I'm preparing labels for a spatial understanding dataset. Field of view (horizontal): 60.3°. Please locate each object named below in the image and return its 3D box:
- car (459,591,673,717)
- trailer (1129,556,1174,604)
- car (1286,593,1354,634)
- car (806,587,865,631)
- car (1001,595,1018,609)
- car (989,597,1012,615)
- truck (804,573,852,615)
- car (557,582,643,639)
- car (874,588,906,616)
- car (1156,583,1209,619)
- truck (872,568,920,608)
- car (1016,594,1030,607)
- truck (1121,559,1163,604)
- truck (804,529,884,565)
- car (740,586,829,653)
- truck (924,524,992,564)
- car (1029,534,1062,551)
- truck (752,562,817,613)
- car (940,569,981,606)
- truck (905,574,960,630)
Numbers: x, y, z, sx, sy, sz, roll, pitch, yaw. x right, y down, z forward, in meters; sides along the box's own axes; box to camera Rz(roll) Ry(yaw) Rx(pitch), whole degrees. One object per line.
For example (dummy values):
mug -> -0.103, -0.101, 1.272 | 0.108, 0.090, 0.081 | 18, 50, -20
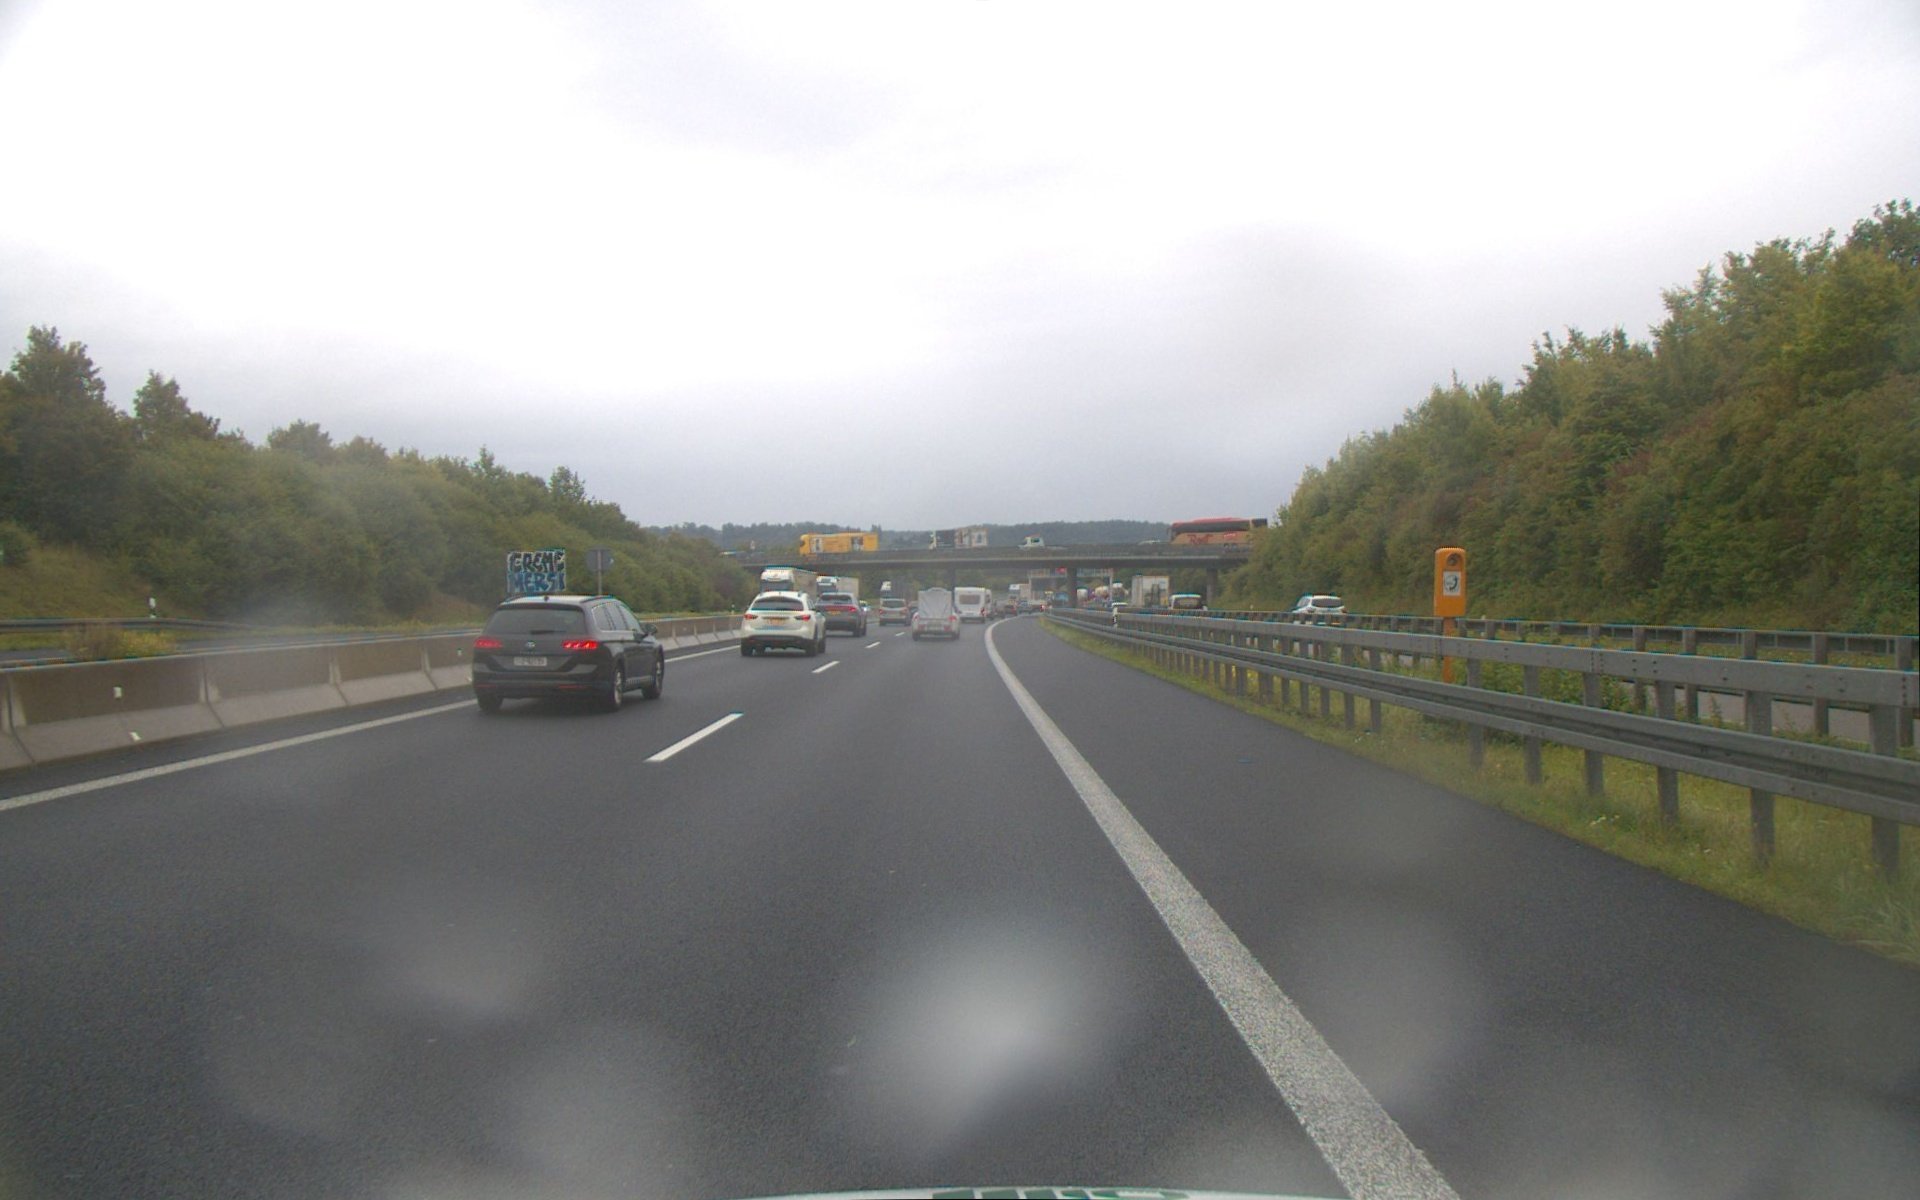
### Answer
car -> -5.164, 0.657, 22.353 | 1.862, 1.523, 4.850 | 0, 0, -2
trailer -> 17.945, -1.827, 155.675 | 3.366, 4.364, 10.456 | 0, 0, 2
car -> 14.759, 0.532, 68.039 | 1.858, 1.641, 4.145 | 0, 0, -1
car -> -4.911, 0.332, 65.880 | 2.130, 1.660, 4.499 | 0, 0, -1
car -> 6.114, 0.244, 205.138 | 1.953, 1.780, 4.000 | 1, 0, 0
car -> 4.053, 0.581, 166.619 | 1.954, 1.780, 3.997 | 1, 0, -4
truck -> -13.360, -0.613, 168.918 | 3.688, 4.062, 13.188 | 0, 0, 1
car -> -12.257, 0.355, 56.551 | 1.952, 1.844, 4.173 | 1, 0, 1
car -> -4.209, 0.131, 99.552 | 1.862, 1.641, 4.015 | 0, 0, -3
car -> 11.679, 0.053, 86.972 | 1.968, 1.846, 4.273 | 0, 0, -4
truck -> -6.055, -1.132, 158.727 | 3.688, 3.616, 13.189 | 0, 0, 1
car -> 9.008, 0.115, 237.632 | 1.952, 1.780, 4.000 | 1, 0, 1
truck -> 18.211, -1.893, 166.087 | 3.366, 4.364, 10.420 | 0, 0, 1
truck -> -16.966, -7.646, 240.324 | 3.741, 4.920, 15.032 | 0, 0, -39
car -> -4.551, 0.474, 43.504 | 1.936, 1.668, 4.500 | 0, 0, -1
truck -> -0.344, -7.351, 218.471 | 3.741, 4.920, 9.904 | 0, 0, -39
car -> 10.538, -7.080, 203.938 | 1.826, 1.948, 3.943 | 1, 0, -40
truck -> -14.549, -1.010, 138.249 | 3.688, 4.062, 13.189 | 0, 0, 1
car -> 0.070, -0.922, 122.708 | 2.955, 2.662, 6.075 | 0, 1, 0
truck -> -1.019, 0.042, 63.246 | 1.978, 2.020, 7.212 | 0, 0, -1
